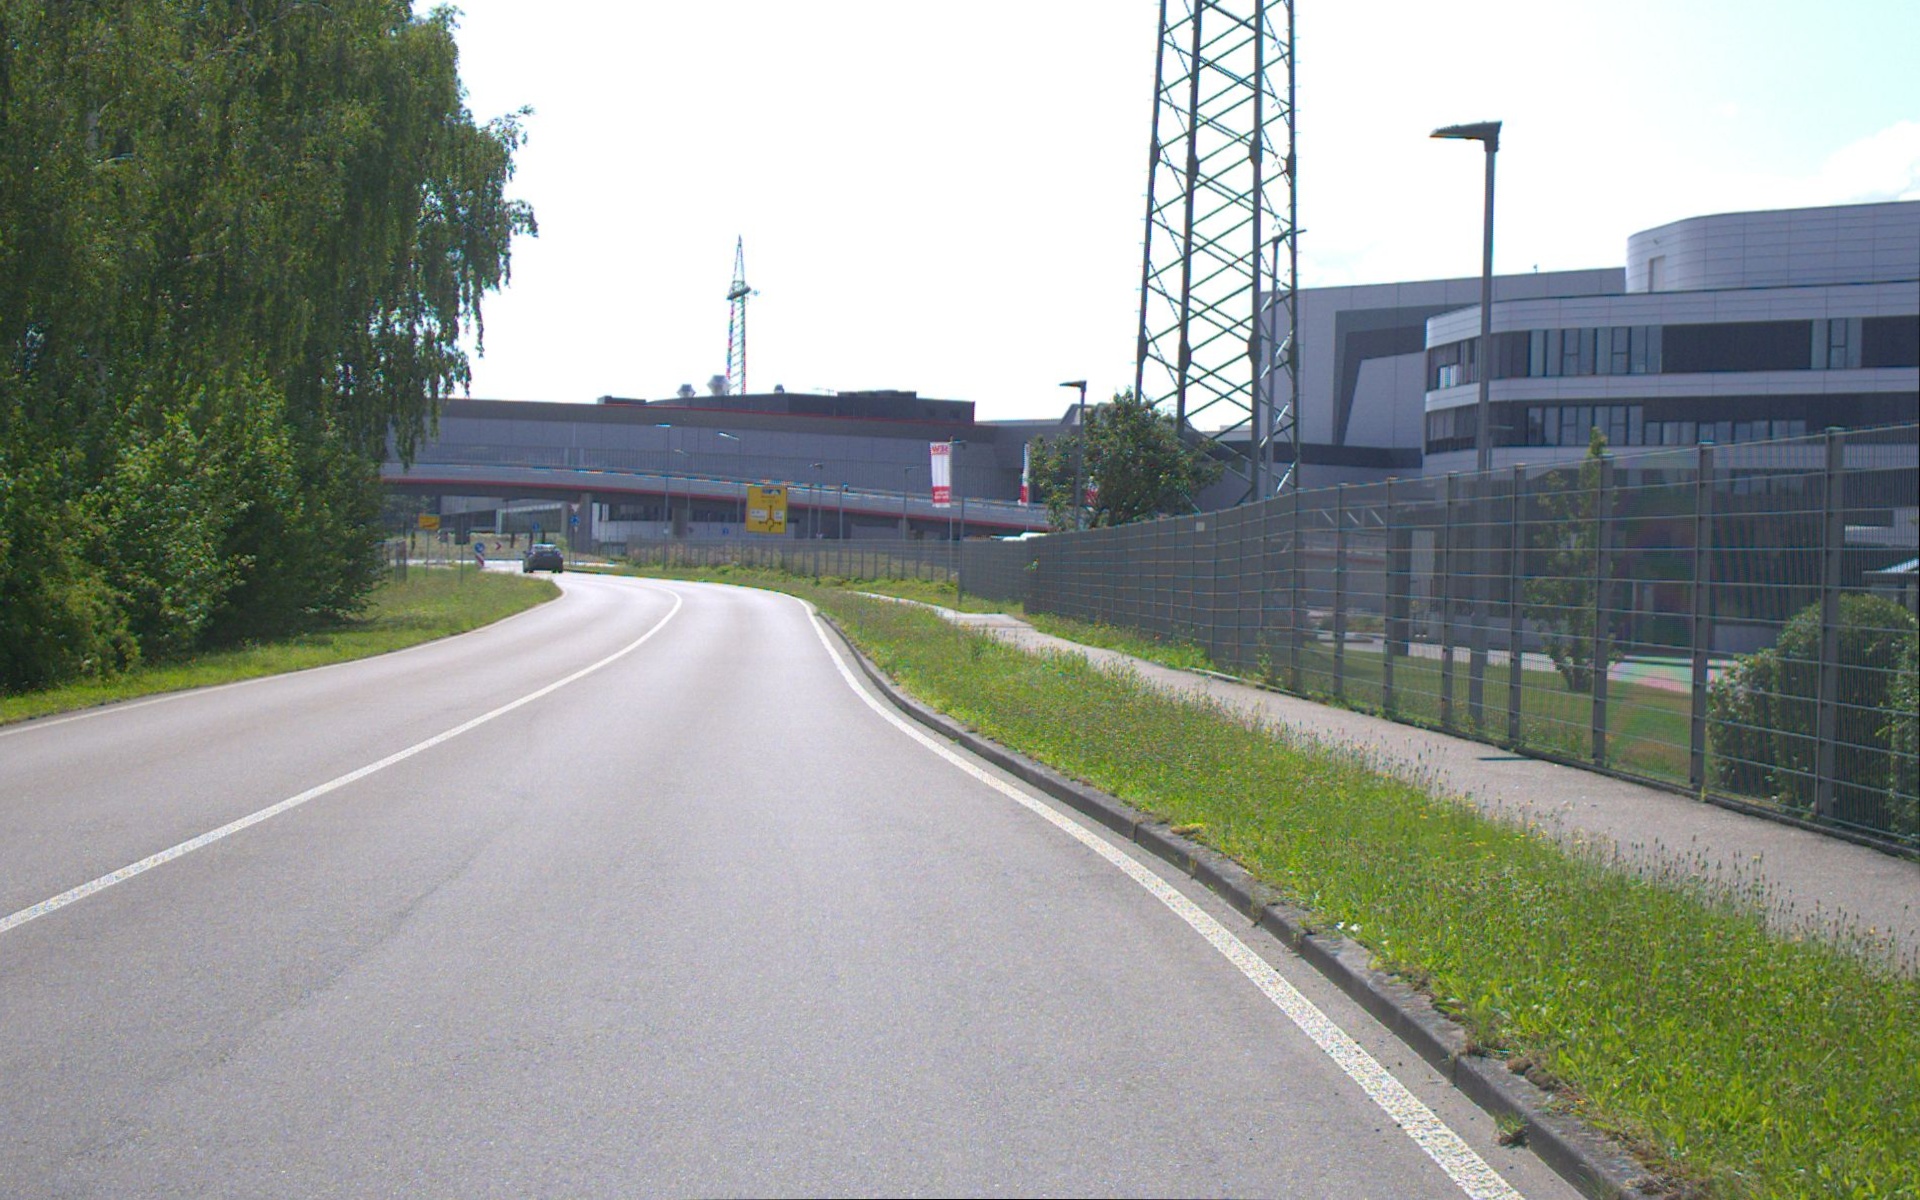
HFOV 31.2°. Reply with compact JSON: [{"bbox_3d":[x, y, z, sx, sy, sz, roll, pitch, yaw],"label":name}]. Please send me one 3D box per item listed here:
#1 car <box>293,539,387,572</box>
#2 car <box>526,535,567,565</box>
[{"bbox_3d":[-27.481,-1.958,152.332,3.689,1.285,1.708,2,1,-33],"label":"car"},{"bbox_3d":[-22.157,-2.680,184.117,2.011,1.503,4.001,2,1,-9],"label":"car"}]
